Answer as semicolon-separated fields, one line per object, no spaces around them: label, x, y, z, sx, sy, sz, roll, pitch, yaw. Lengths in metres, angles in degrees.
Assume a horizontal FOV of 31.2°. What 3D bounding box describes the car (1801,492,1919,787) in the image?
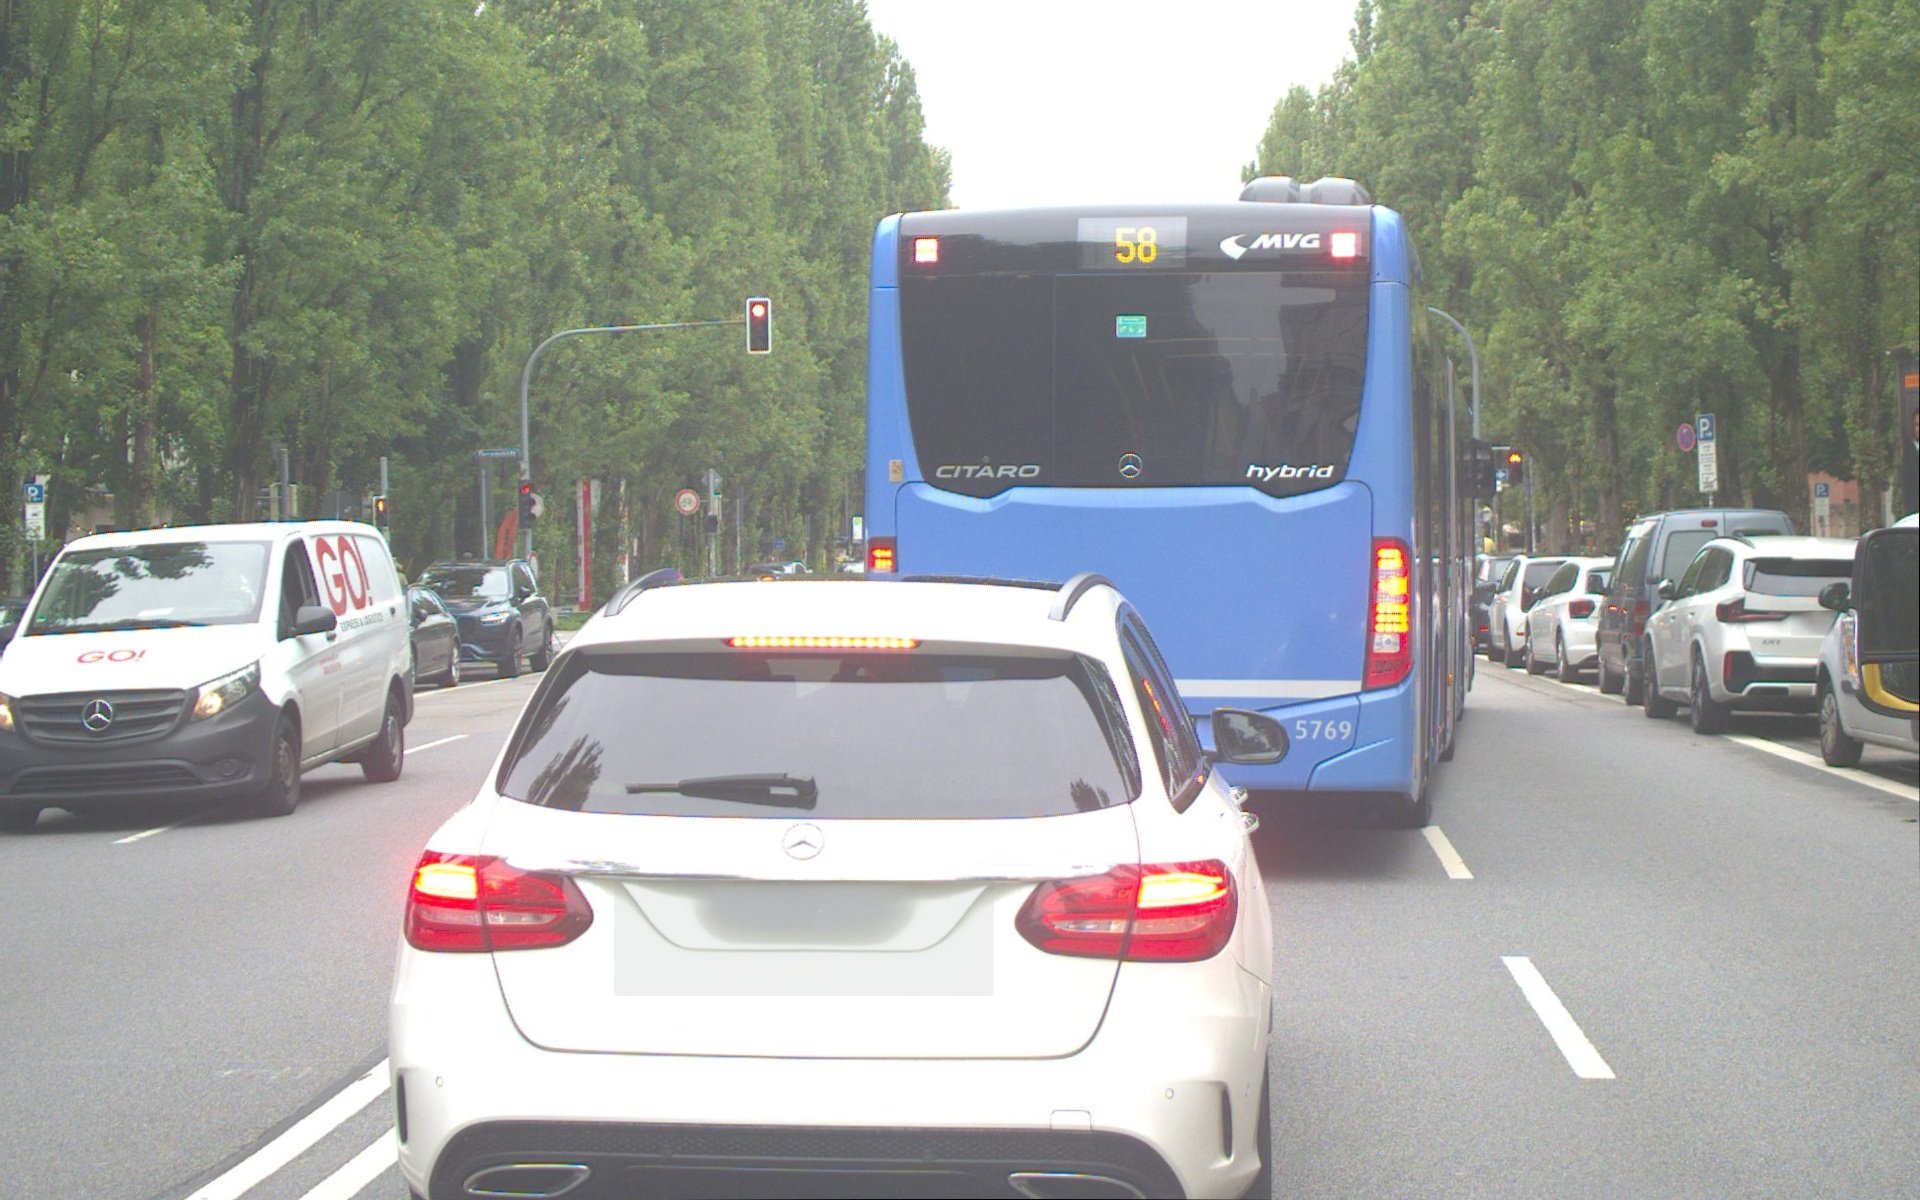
car;6.717;0.233;21.754;1.833;1.767;4.230;1;1;2

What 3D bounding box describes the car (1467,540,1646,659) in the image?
car;7.873;-0.041;45.661;1.786;1.486;4.000;-1;1;2

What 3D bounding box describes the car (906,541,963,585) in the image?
car;-0.884;-1.333;122.211;1.821;1.481;4.000;-1;1;2

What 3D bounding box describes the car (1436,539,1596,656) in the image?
car;8.170;-0.070;50.815;1.809;1.612;4.000;-1;1;2

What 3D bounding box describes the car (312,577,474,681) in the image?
car;-7.544;0.357;46.029;1.289;1.269;3.848;-1;1;4

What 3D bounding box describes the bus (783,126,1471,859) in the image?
bus;1.383;-0.558;19.732;2.857;3.202;9.056;0;1;10

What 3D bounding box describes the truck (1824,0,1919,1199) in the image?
truck;3.012;-0.030;4.077;2.327;2.888;7.333;-1;1;2

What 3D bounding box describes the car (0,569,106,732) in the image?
car;-9.265;0.491;31.841;1.539;1.428;3.869;-4;1;2

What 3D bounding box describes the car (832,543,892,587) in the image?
car;-3.457;-1.253;121.552;1.821;1.481;4.000;-1;1;2

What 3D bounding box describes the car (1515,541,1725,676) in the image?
car;7.716;0.060;40.519;1.798;1.470;4.000;-1;1;2

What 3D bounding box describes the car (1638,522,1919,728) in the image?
car;6.861;0.150;28.952;1.677;1.590;4.087;1;1;3

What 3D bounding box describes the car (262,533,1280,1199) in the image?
car;-0.145;0.570;8.403;1.826;1.449;4.582;0;1;5

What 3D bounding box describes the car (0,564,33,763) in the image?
car;-8.446;0.578;25.406;1.791;1.542;4.338;-4;1;2

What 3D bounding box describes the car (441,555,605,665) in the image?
car;-6.520;0.119;51.643;1.707;1.546;4.000;-1;1;4

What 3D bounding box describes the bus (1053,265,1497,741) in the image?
bus;2.943;-0.755;28.877;2.873;3.292;9.785;-1;1;10

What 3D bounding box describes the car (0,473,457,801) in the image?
car;-5.130;0.191;23.331;2.183;1.885;5.695;-3;1;4

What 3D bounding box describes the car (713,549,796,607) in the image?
car;-5.521;-0.605;92.771;1.821;1.481;4.000;-1;1;2

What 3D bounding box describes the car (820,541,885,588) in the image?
car;-3.491;-1.162;112.018;1.821;1.481;4.000;-1;1;2

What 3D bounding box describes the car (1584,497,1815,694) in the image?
car;7.288;-0.088;34.205;1.703;1.829;4.000;1;1;4
